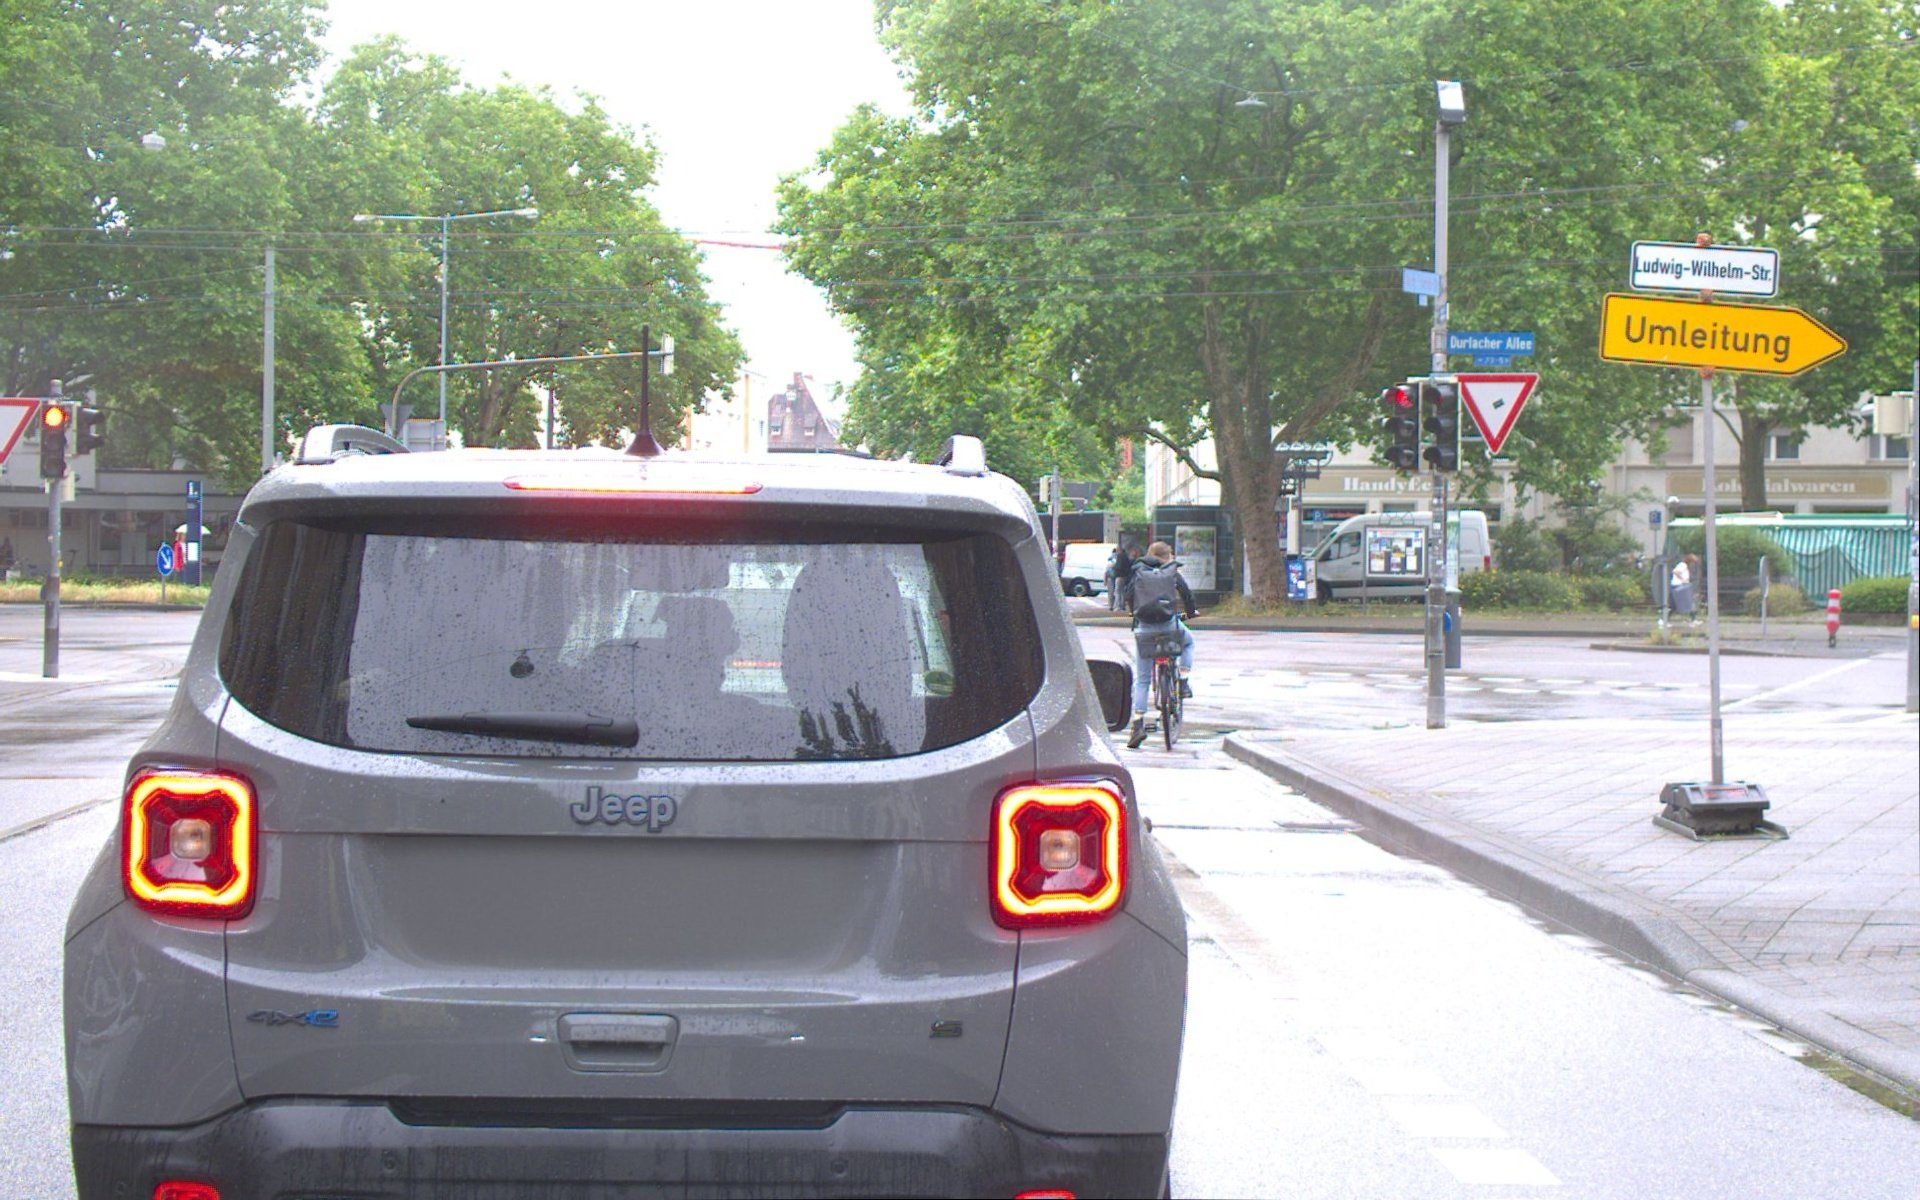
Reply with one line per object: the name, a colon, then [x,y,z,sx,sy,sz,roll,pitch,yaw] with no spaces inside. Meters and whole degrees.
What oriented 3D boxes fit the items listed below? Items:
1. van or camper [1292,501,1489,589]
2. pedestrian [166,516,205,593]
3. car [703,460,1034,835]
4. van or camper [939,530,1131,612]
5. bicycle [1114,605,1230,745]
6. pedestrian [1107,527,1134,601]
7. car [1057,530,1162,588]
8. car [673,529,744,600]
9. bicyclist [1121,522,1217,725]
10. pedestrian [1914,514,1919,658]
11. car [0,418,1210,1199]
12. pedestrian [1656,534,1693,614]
van or camper: [11.924,-1.531,95.487,5.260,2.307,2.090,1,1,3]
pedestrian: [-18.557,-1.094,82.412,0.692,1.820,0.620,0,1,15]
car: [-0.529,0.220,20.516,1.770,2.007,4.000,0,1,-1]
van or camper: [2.738,-1.076,125.447,6.535,2.902,2.491,1,1,24]
bicycle: [1.694,0.583,27.851,0.691,1.018,2.658,0,1,-2]
pedestrian: [4.355,-0.979,93.359,0.651,2.007,0.482,1,1,12]
car: [5.236,-1.439,120.256,3.438,2.007,1.547,0,0,13]
car: [-6.288,-0.899,85.676,1.721,1.733,3.730,0,1,-5]
bicyclist: [1.689,0.180,27.868,0.687,1.612,0.884,0,1,-2]
pedestrian: [12.156,-0.178,42.278,0.786,1.753,0.945,0,1,14]
car: [-0.585,0.549,6.856,1.775,1.681,3.848,0,1,-2]
pedestrian: [14.226,-0.521,68.453,0.613,1.598,0.493,1,1,24]
